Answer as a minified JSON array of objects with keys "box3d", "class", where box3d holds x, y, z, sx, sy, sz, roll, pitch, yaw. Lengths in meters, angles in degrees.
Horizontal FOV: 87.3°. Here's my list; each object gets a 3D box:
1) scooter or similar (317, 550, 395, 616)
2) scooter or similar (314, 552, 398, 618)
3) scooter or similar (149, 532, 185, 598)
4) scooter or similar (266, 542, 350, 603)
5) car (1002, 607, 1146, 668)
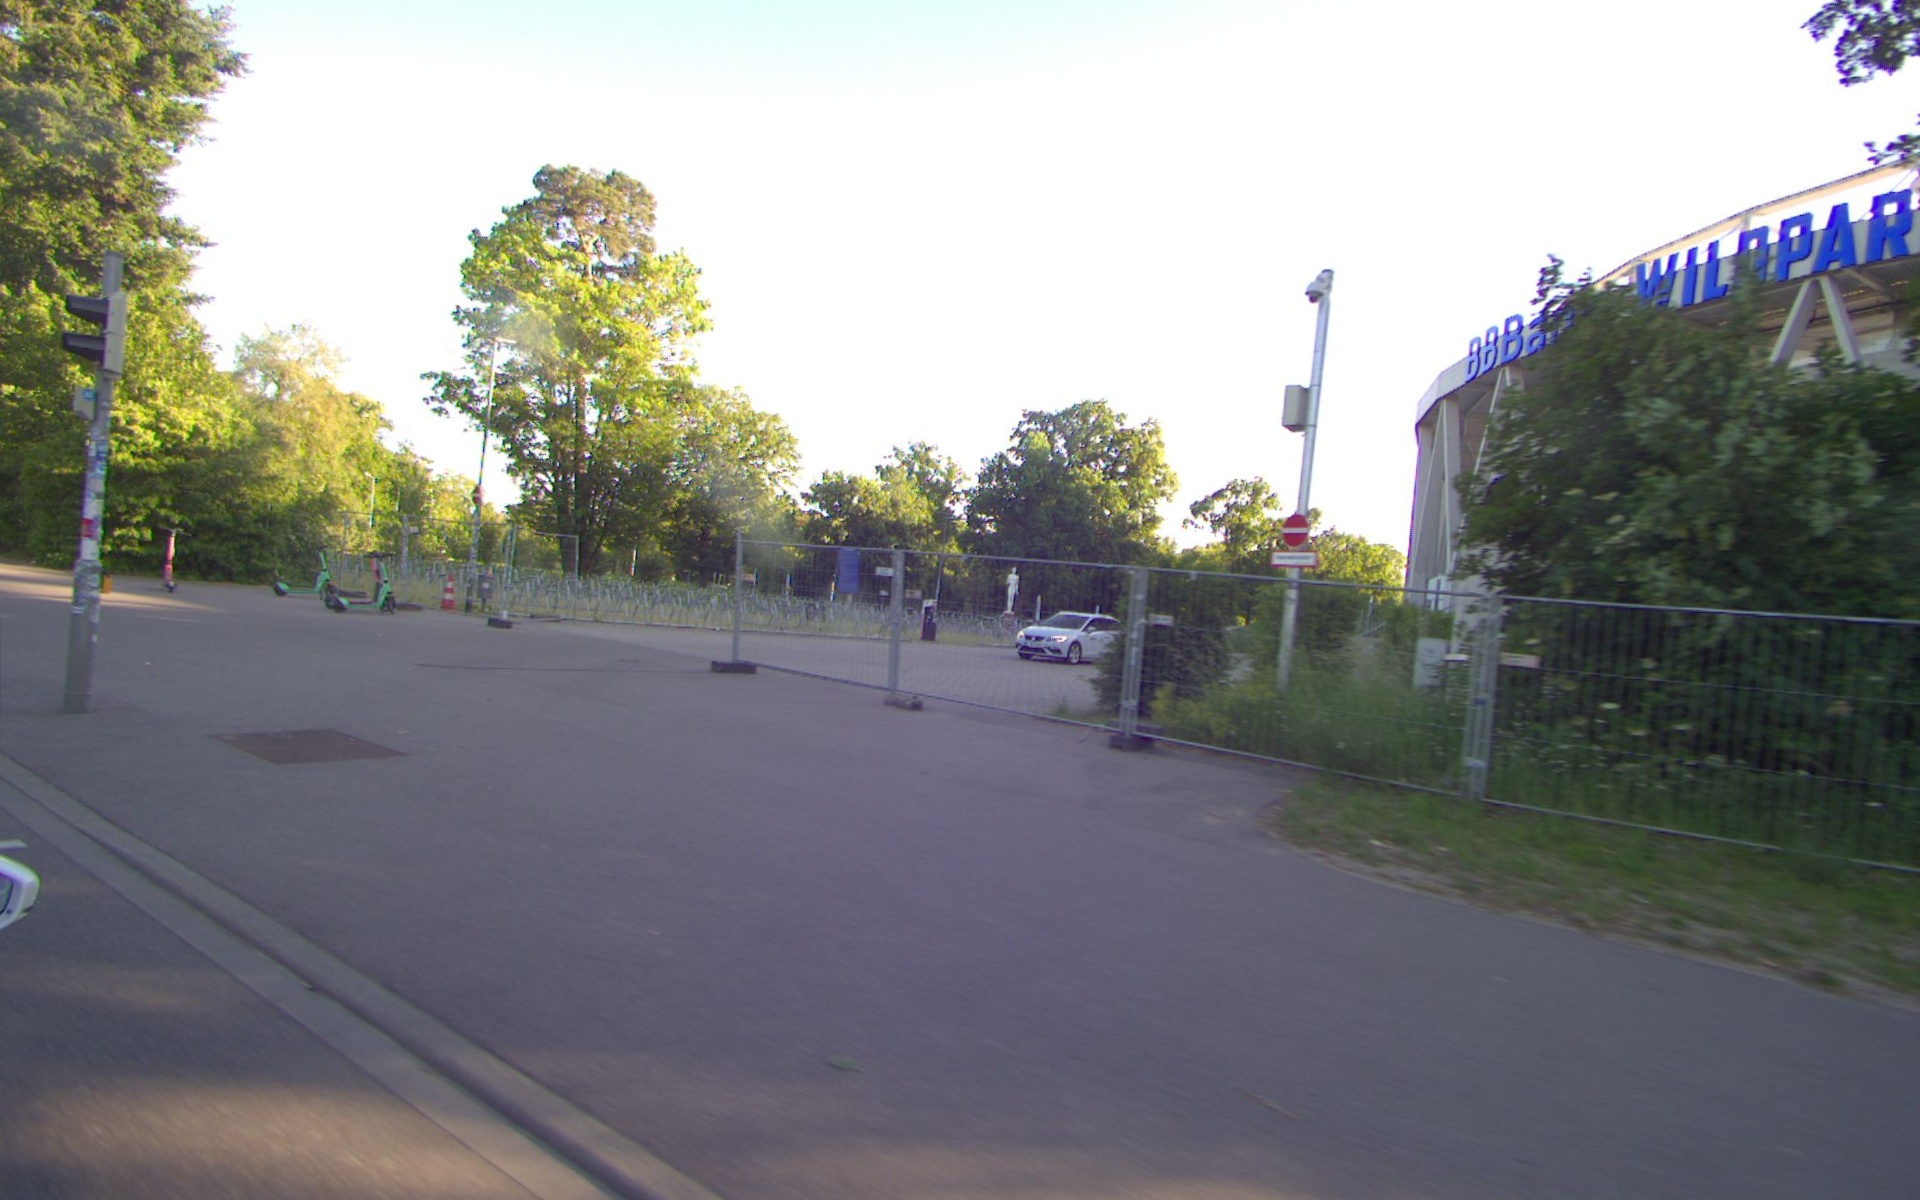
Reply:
[{"box3d":[-11.933,-0.335,19.888,1.235,1.181,0.391,6,0,-32],"class":"scooter or similar"},{"box3d":[-11.596,-0.281,19.340,0.389,1.161,1.263,5,1,41],"class":"scooter or similar"},{"box3d":[-15.435,-0.693,19.561,1.390,1.186,0.280,7,2,43],"class":"scooter or similar"},{"box3d":[-14.162,-0.590,21.882,1.425,1.181,0.391,5,0,-27],"class":"scooter or similar"},{"box3d":[3.335,1.097,28.792,1.795,1.395,4.363,6,0,42],"class":"car"}]
